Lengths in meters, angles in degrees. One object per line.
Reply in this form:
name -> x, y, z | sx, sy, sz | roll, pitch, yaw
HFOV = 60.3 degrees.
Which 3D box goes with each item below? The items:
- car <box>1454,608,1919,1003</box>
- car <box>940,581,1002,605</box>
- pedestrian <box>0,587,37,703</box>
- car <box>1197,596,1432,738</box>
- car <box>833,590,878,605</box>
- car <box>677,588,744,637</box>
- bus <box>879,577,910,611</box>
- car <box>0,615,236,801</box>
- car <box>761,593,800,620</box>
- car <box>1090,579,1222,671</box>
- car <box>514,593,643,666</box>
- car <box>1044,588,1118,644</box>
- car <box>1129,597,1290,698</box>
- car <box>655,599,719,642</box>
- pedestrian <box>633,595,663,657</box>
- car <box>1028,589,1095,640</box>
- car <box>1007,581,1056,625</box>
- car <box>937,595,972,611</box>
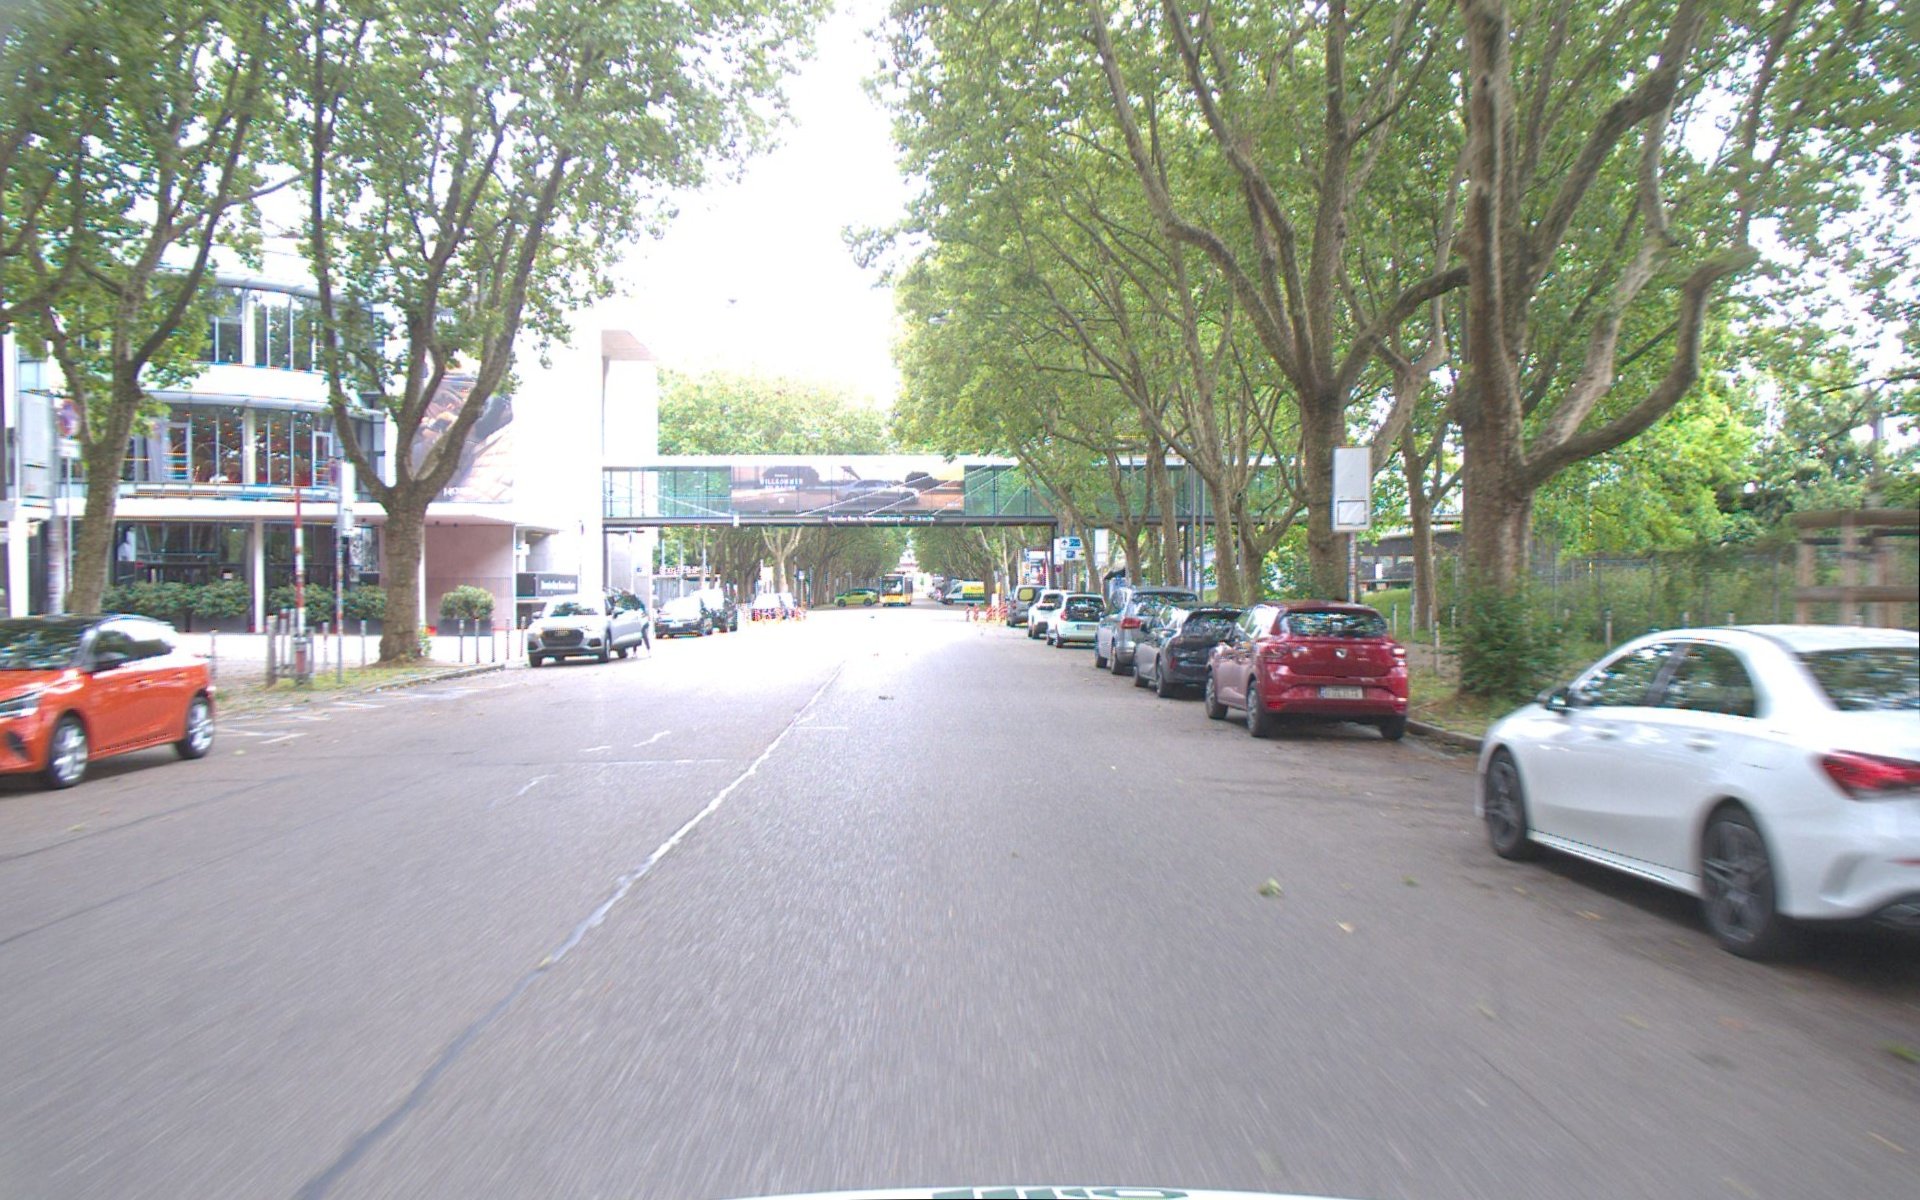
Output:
car -> 4.258, 0.797, 8.657 | 1.839, 1.452, 4.584 | 0, 0, -2
car -> 1.196, -0.804, 182.575 | 6.688, 2.557, 2.315 | 0, 0, -4
pedestrian -> -13.830, 0.639, 23.823 | 0.580, 1.648, 0.792 | 0, 0, 8
car -> 4.098, 0.713, 19.820 | 1.819, 1.507, 4.176 | 0, 0, -2
car -> -10.850, -0.252, 172.240 | 4.604, 1.612, 1.864 | 0, 0, -1
car -> -10.234, 0.487, 68.148 | 1.993, 1.820, 4.907 | -3, 0, -1
bus -> -6.670, -0.601, 169.604 | 2.977, 3.215, 12.671 | -2, 0, -2
car -> -8.265, 0.868, 14.912 | 1.771, 1.378, 3.999 | 0, 0, -1
car -> -10.484, 0.364, 96.751 | 1.821, 1.478, 4.447 | -3, 0, -1
car -> 3.863, 0.466, 33.388 | 1.942, 1.709, 4.729 | 0, 0, -2
car -> -8.922, 0.633, 39.088 | 2.031, 1.590, 4.755 | 0, 0, -1
car -> 3.457, 0.448, 47.819 | 1.771, 1.553, 4.095 | 0, 0, -1
car -> 3.888, 0.695, 26.488 | 1.839, 1.452, 4.479 | 0, 0, -1
car -> -10.205, 0.731, 62.093 | 1.670, 1.444, 4.324 | -3, 0, -1
pedestrian -> -7.620, 0.620, 40.401 | 0.571, 1.492, 0.567 | 1, 0, 2
car -> 3.383, 0.456, 56.024 | 1.875, 1.646, 4.748 | 0, 0, -1
car -> 3.094, 0.123, 72.445 | 1.810, 1.814, 5.210 | 1, 0, -1
car -> -0.627, 0.380, 189.974 | 3.907, 1.825, 1.542 | 0, 0, -2
